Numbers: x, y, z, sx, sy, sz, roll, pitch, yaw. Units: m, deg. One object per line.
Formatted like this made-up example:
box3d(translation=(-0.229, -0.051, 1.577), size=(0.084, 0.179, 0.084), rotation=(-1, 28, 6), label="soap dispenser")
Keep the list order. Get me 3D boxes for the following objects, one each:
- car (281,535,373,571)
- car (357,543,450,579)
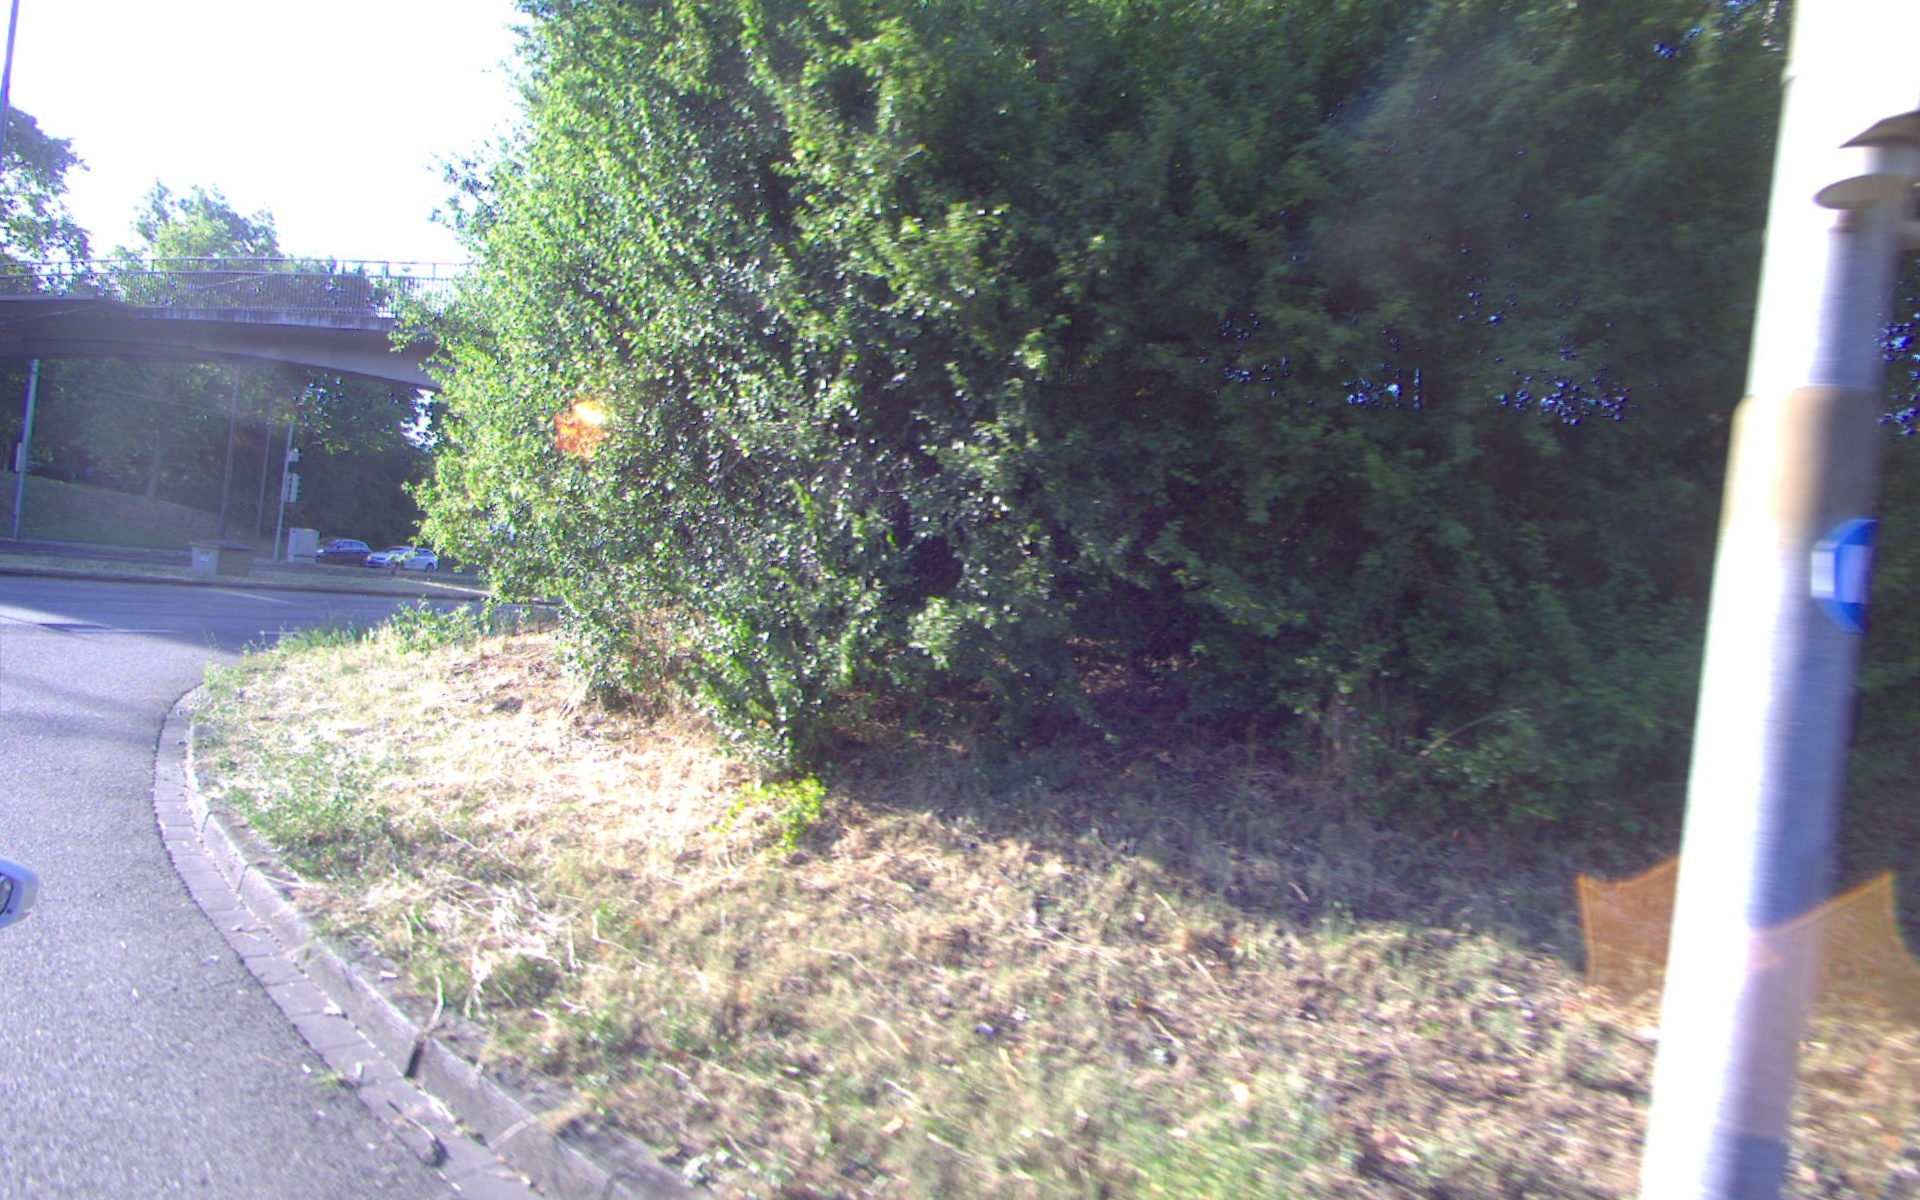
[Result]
box3d(translation=(-35.756, -2.620, 56.947), size=(1.973, 1.461, 4.257), rotation=(7, -1, 9), label="car")
box3d(translation=(-31.920, -2.231, 57.866), size=(1.973, 1.461, 4.864), rotation=(7, -1, 9), label="car")
